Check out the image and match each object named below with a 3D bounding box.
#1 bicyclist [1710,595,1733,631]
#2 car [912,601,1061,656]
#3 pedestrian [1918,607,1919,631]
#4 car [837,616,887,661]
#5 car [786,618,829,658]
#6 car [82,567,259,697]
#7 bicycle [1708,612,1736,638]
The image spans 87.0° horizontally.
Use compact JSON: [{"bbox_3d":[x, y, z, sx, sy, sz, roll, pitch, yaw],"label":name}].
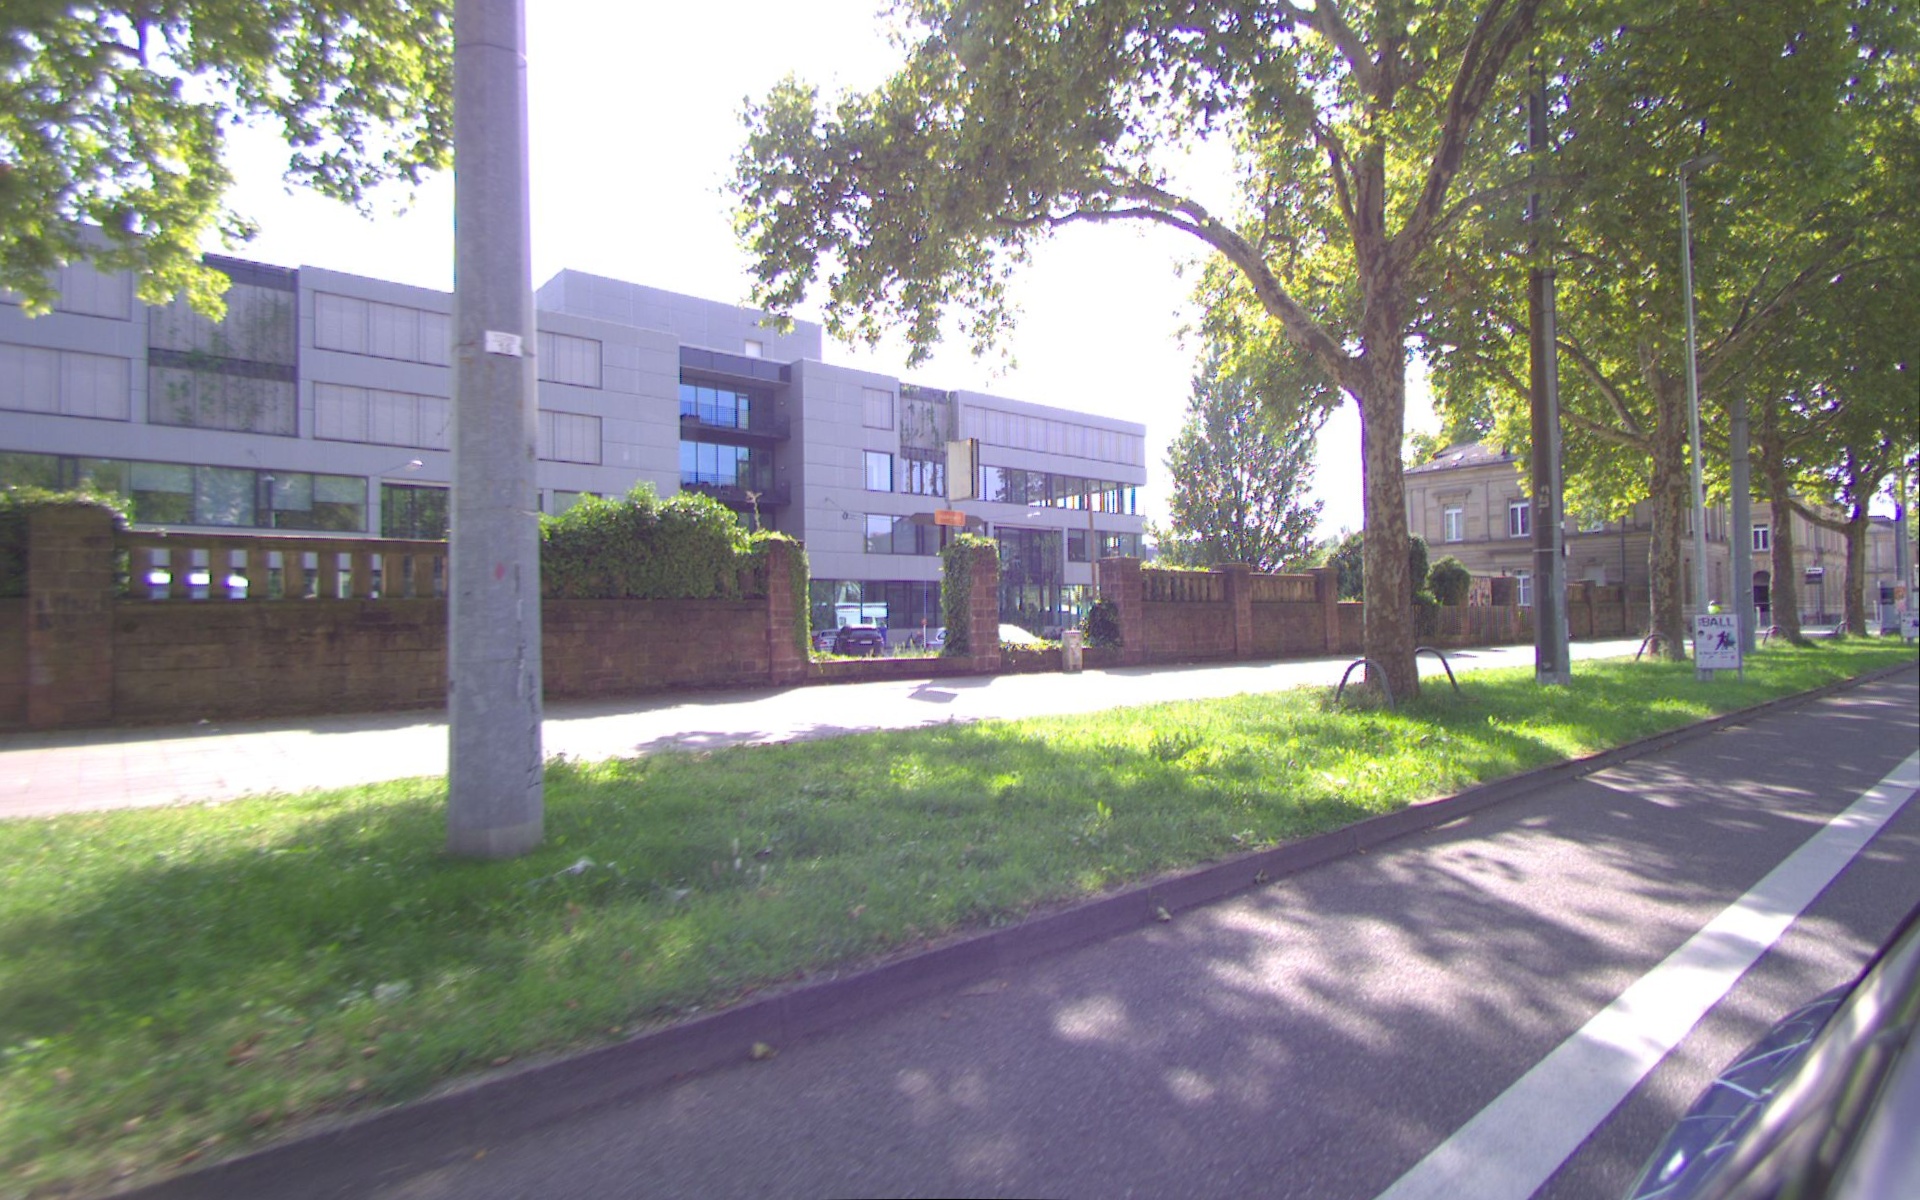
[{"bbox_3d":[30.945,0.525,41.125,0.827,1.472,0.549,0,-1,-41],"label":"bicyclist"},{"bbox_3d":[0.688,0.763,28.448,1.967,1.436,3.990,0,-1,-43],"label":"car"},{"bbox_3d":[50.097,0.990,52.467,0.564,1.233,0.609,1,0,-43],"label":"pedestrian"},{"bbox_3d":[-4.370,1.663,44.532,1.959,1.806,4.006,0,0,-9],"label":"car"},{"bbox_3d":[-7.454,1.804,49.437,1.959,1.806,4.006,0,0,-9],"label":"car"},{"bbox_3d":[-12.582,0.444,16.007,1.877,1.756,4.526,0,-1,-42],"label":"car"},{"bbox_3d":[30.969,0.990,41.131,1.683,1.020,0.549,0,-1,-41],"label":"bicycle"}]
